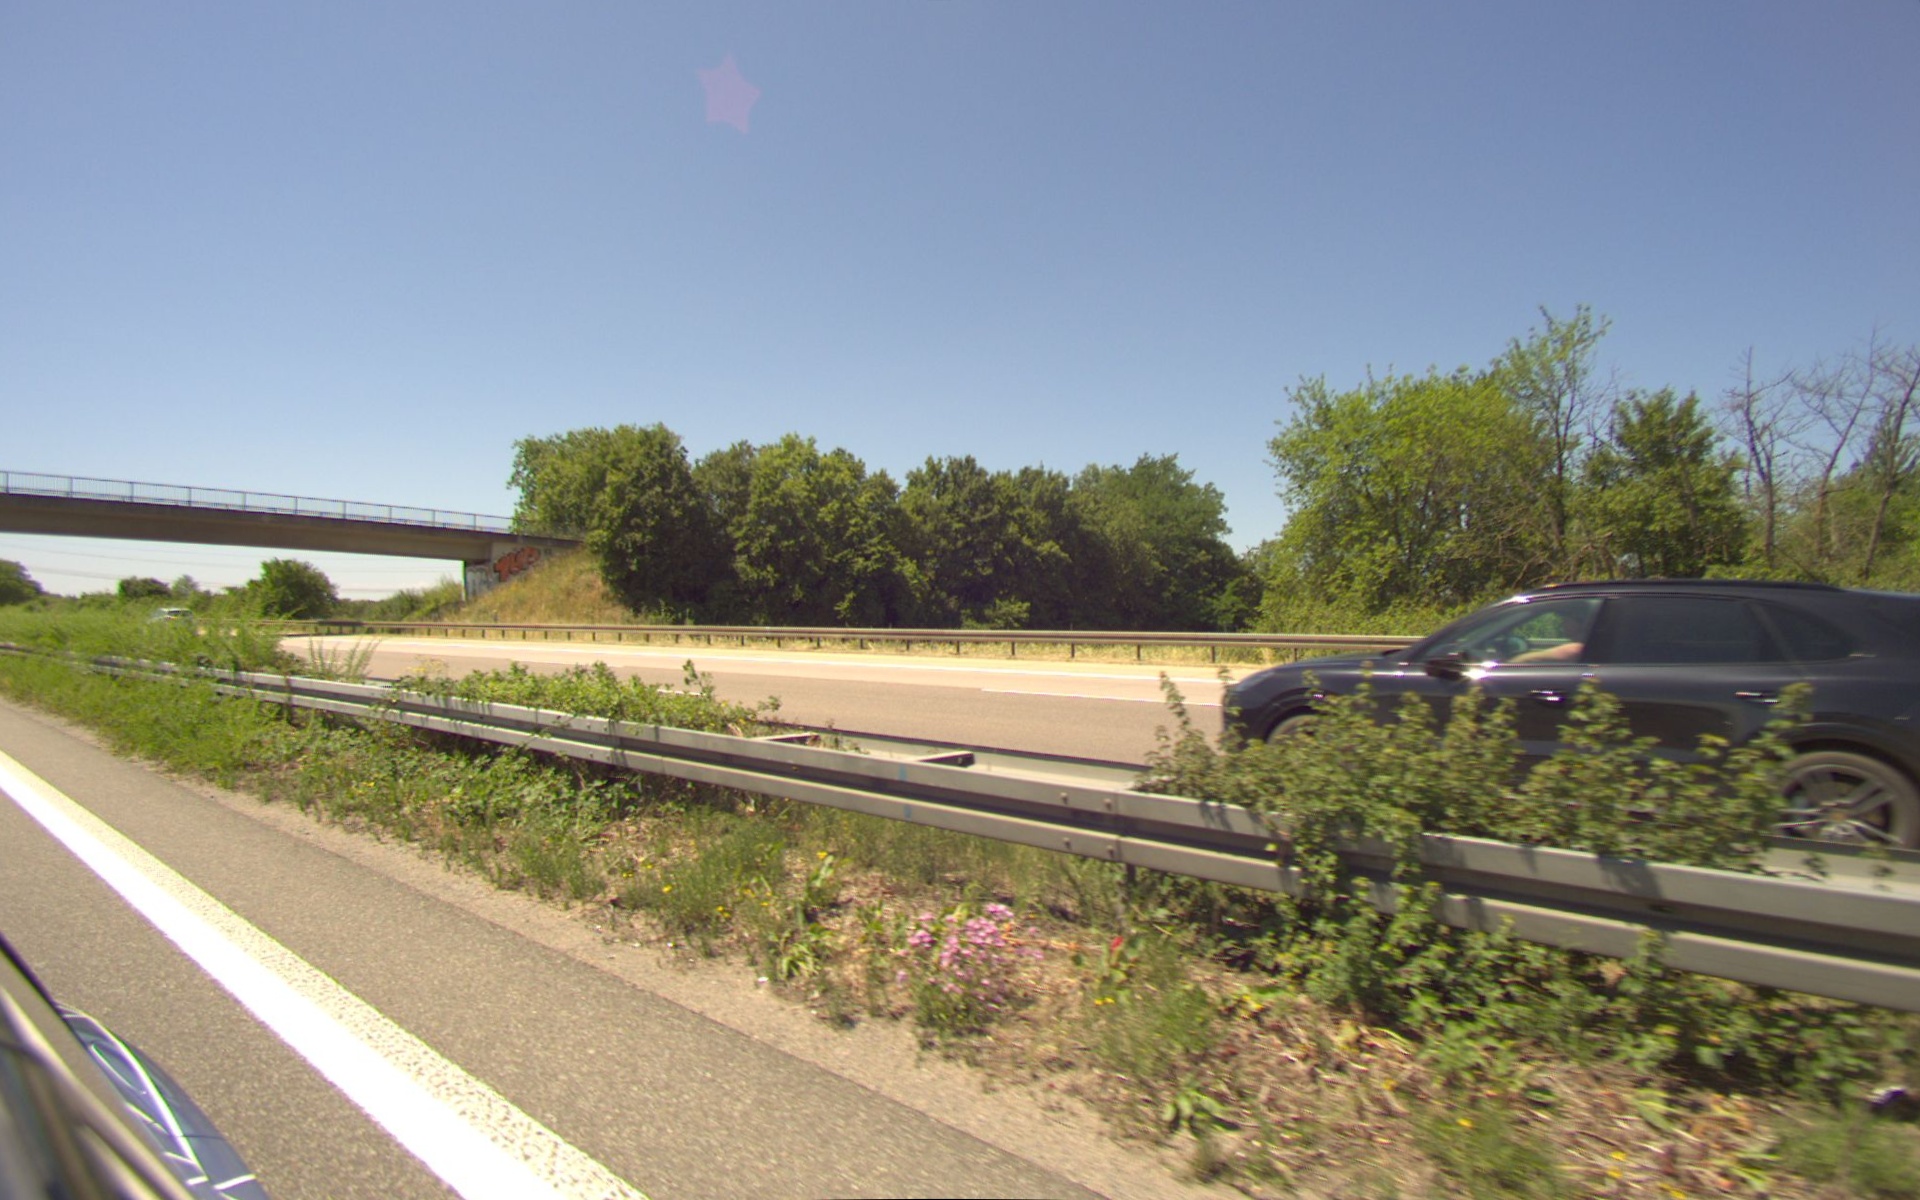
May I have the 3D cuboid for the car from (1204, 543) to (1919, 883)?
[{"bbox_3d":[4.488,0.610,6.869,5.199,1.741,1.973,-1,-1,41],"label":"car"}]

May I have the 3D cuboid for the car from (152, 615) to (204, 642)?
[{"bbox_3d":[-47.752,1.706,61.772,4.402,1.586,1.693,-1,-2,41],"label":"car"}]
